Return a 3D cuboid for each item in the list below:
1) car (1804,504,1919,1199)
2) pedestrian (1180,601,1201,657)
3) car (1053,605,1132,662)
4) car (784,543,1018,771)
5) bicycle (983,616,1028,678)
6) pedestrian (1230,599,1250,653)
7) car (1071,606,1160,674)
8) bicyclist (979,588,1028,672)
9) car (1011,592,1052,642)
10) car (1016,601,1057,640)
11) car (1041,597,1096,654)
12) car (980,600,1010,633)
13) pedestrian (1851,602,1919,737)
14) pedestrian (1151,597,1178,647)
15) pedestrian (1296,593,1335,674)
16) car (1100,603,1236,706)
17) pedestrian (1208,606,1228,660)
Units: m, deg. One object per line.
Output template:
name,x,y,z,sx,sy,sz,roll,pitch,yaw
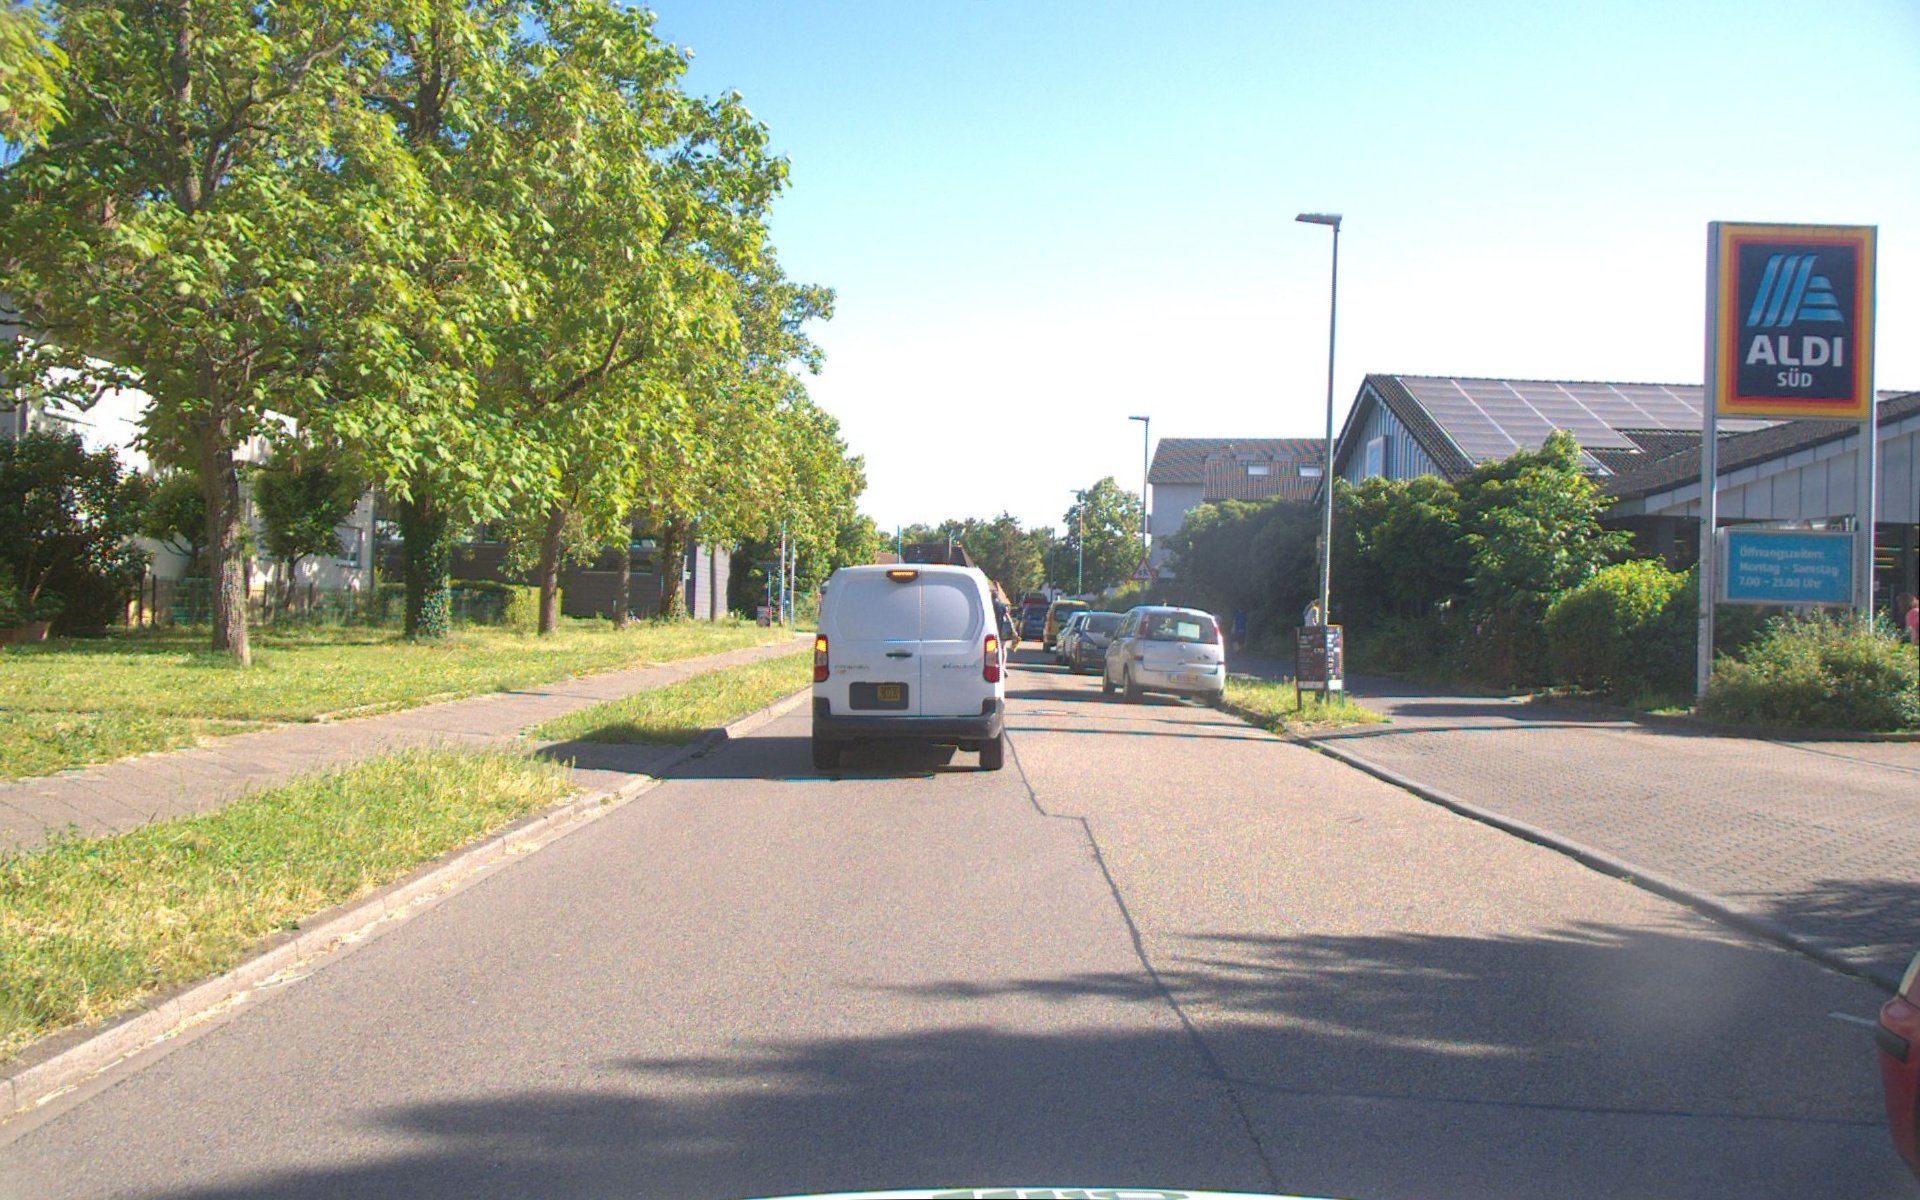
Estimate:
car,3.163,0.703,2.173,1.802,1.837,4.654,1,0,1
pedestrian,6.886,0.860,49.461,0.555,1.665,0.547,1,0,6
car,3.635,0.918,46.122,1.789,1.477,3.999,2,-1,-1
car,-0.440,0.496,16.406,1.952,1.915,4.290,1,0,2
bicycle,0.885,0.922,32.970,0.771,1.158,2.279,1,0,-1
pedestrian,8.744,0.798,51.632,0.555,1.665,0.547,1,0,6
car,3.692,0.918,39.886,1.770,1.468,4.363,2,0,1
bicyclist,0.852,0.593,32.925,0.887,1.612,0.966,2,-1,-1
car,3.943,0.965,91.736,1.829,2.607,4.766,4,-1,-1
car,3.875,1.051,84.325,1.767,1.816,3.999,4,-1,-1
car,3.749,0.871,57.753,1.688,1.869,4.000,2,-1,1
car,2.337,1.130,110.623,1.767,2.105,3.999,4,-1,-1
pedestrian,11.782,0.869,21.020,0.677,1.660,0.777,1,0,21
pedestrian,7.862,0.828,63.534,0.778,1.894,0.873,2,-1,-7
pedestrian,8.095,0.757,37.689,0.781,1.813,0.809,1,0,8
car,3.568,0.913,28.975,1.646,1.627,4.025,2,-1,-3
pedestrian,8.061,1.030,51.671,0.555,1.665,0.547,1,0,6
